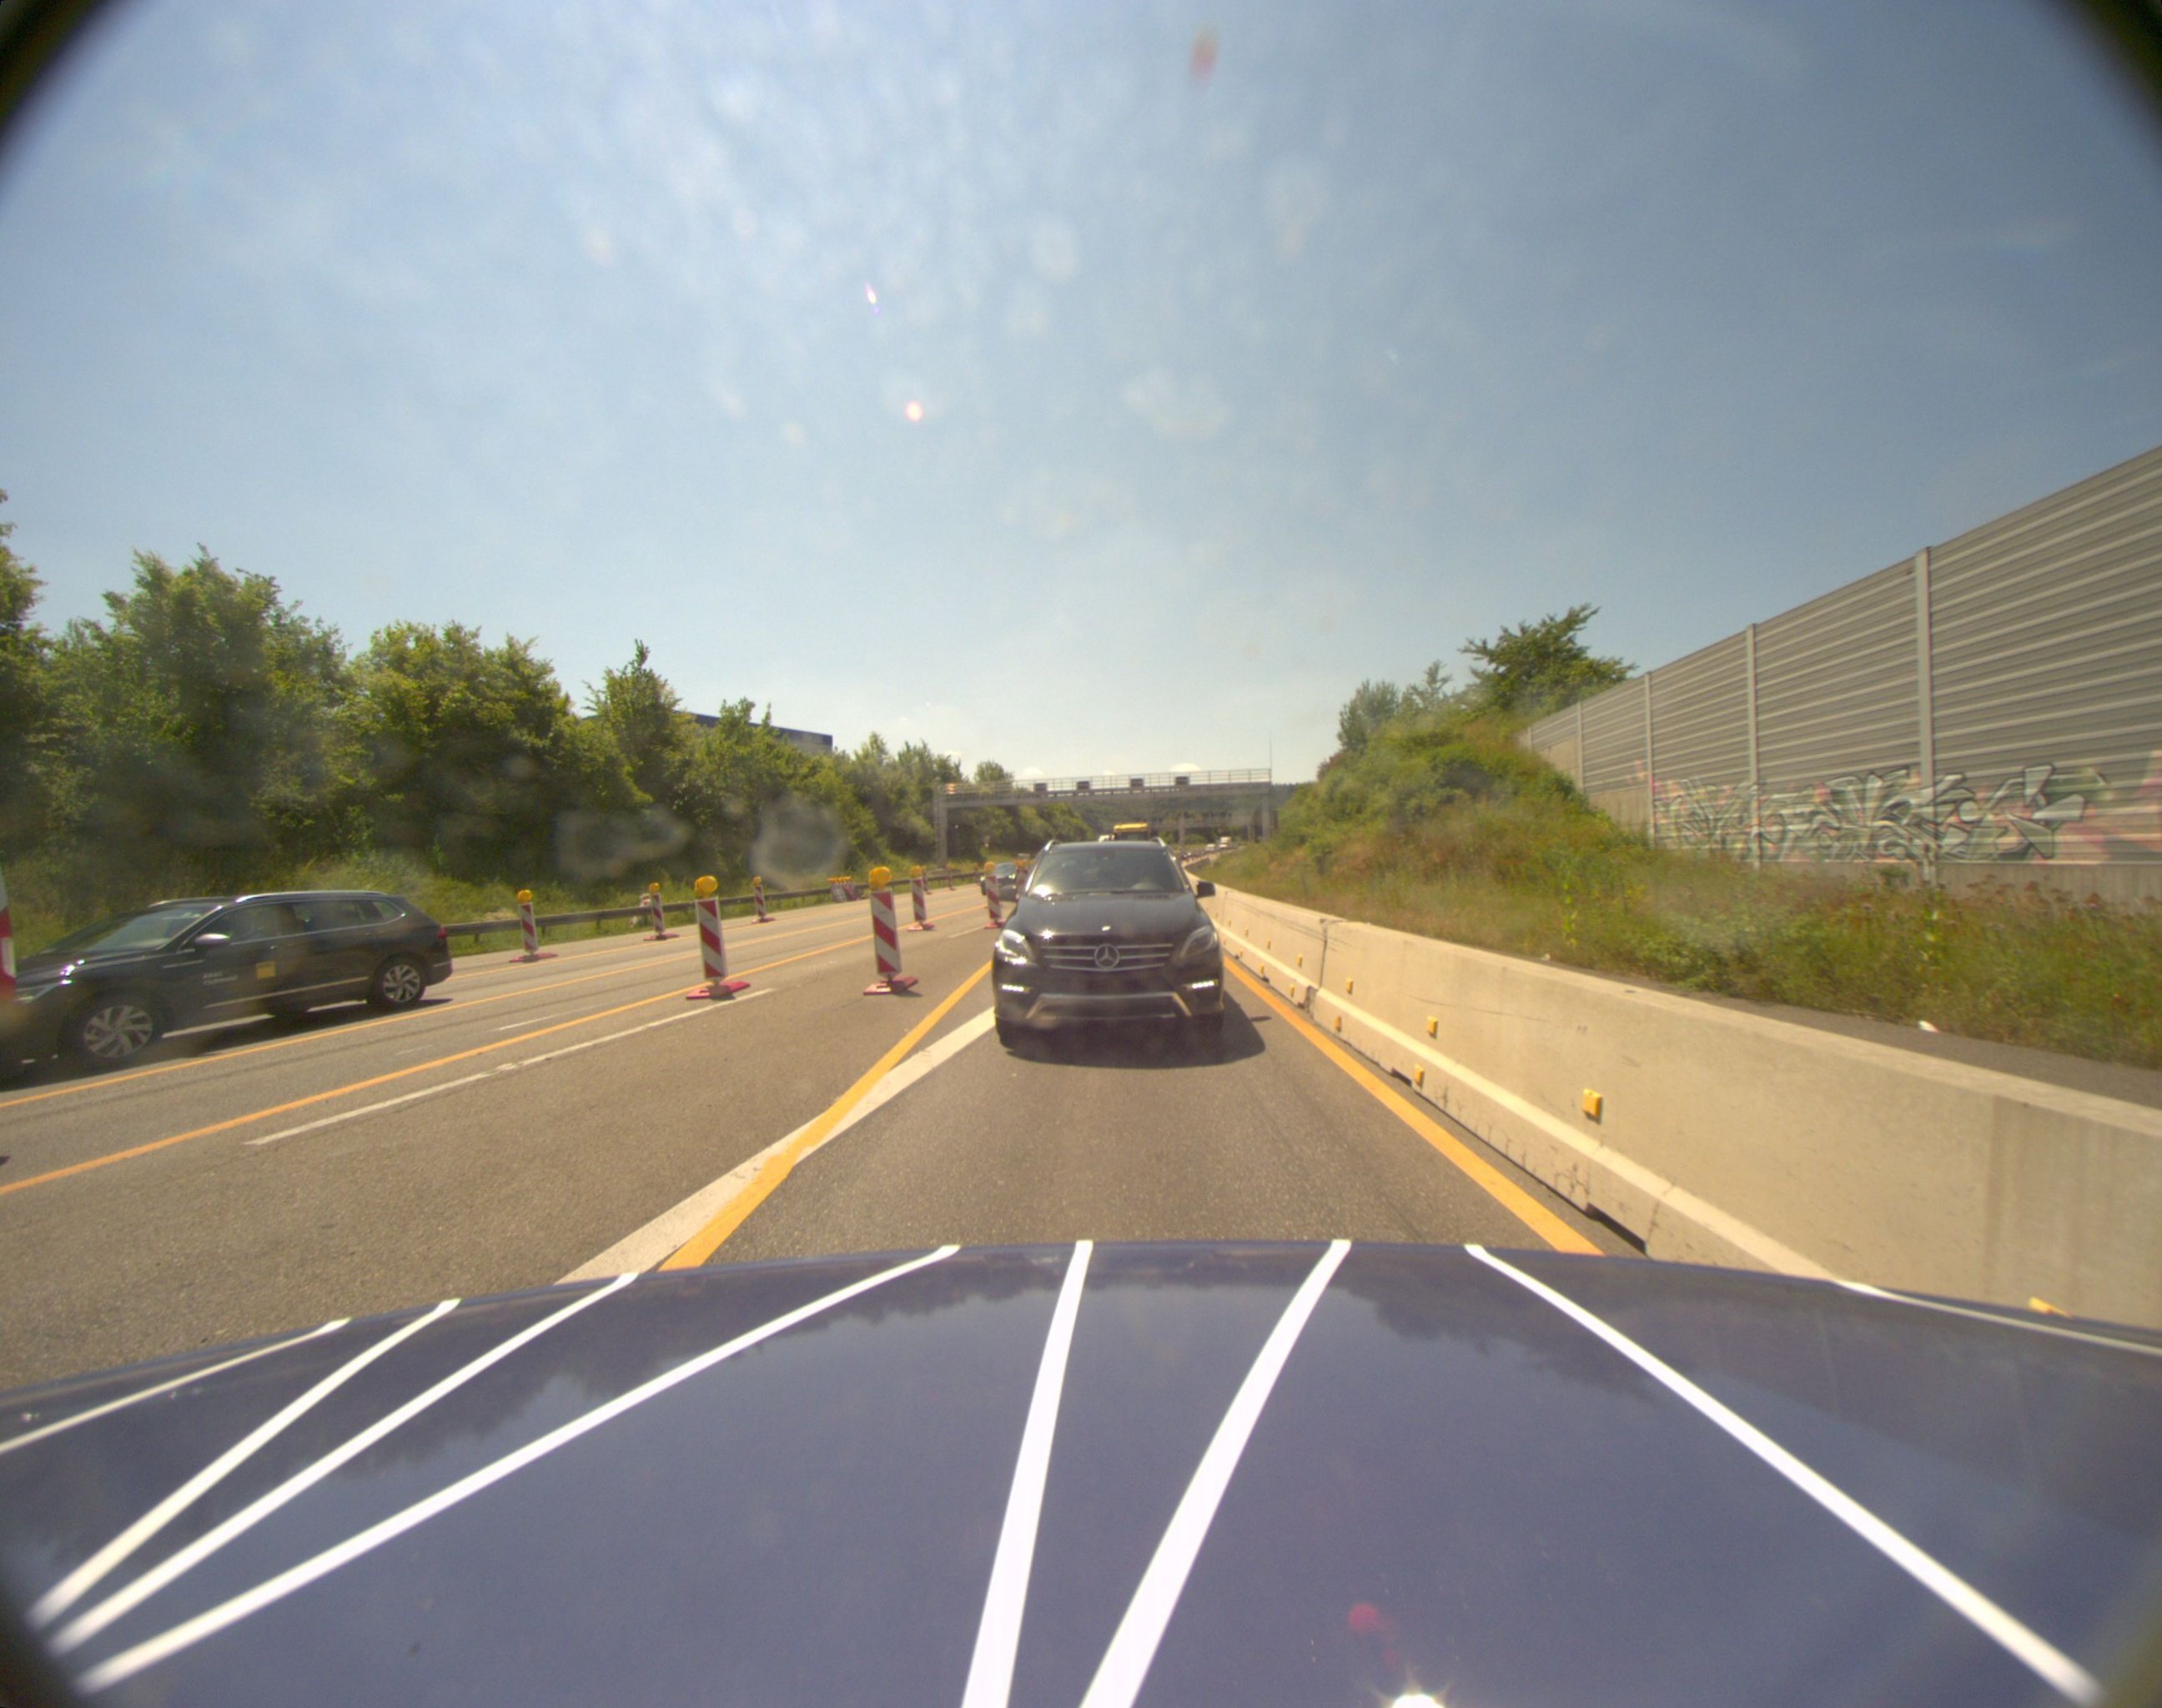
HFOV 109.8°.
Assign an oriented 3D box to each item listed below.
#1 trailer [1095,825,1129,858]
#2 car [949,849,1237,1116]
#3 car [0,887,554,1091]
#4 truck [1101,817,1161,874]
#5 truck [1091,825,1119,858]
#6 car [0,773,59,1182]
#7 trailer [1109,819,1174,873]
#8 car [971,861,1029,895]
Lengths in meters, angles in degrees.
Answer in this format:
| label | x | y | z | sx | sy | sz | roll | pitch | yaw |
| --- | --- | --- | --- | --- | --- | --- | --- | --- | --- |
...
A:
| label | x | y | z | sx | sy | sz | roll | pitch | yaw |
| --- | --- | --- | --- | --- | --- | --- | --- | --- | --- |
| trailer | 4.316 | -1.607 | 102.649 | 2.545 | 3.929 | 13.879 | -4 | 0 | 10 |
| car | 0.328 | 0.850 | 7.244 | 1.818 | 1.685 | 4.495 | -3 | 0 | 7 |
| car | -10.000 | 1.441 | 9.937 | 2.023 | 1.653 | 5.240 | -3 | 0 | 8 |
| truck | 3.728 | -0.559 | 54.448 | 3.227 | 3.639 | 7.089 | -3 | 0 | 11 |
| truck | 3.130 | -1.541 | 96.013 | 2.532 | 3.927 | 5.603 | -4 | 0 | 10 |
| car | -8.076 | 0.827 | 1.706 | 2.270 | 2.521 | 6.586 | -3 | 0 | 5 |
| trailer | 5.350 | -0.563 | 62.794 | 3.234 | 3.645 | 17.437 | -3 | -1 | 11 |
| car | -3.955 | 1.149 | 37.888 | 1.998 | 1.477 | 4.679 | -3 | 0 | 5 |
